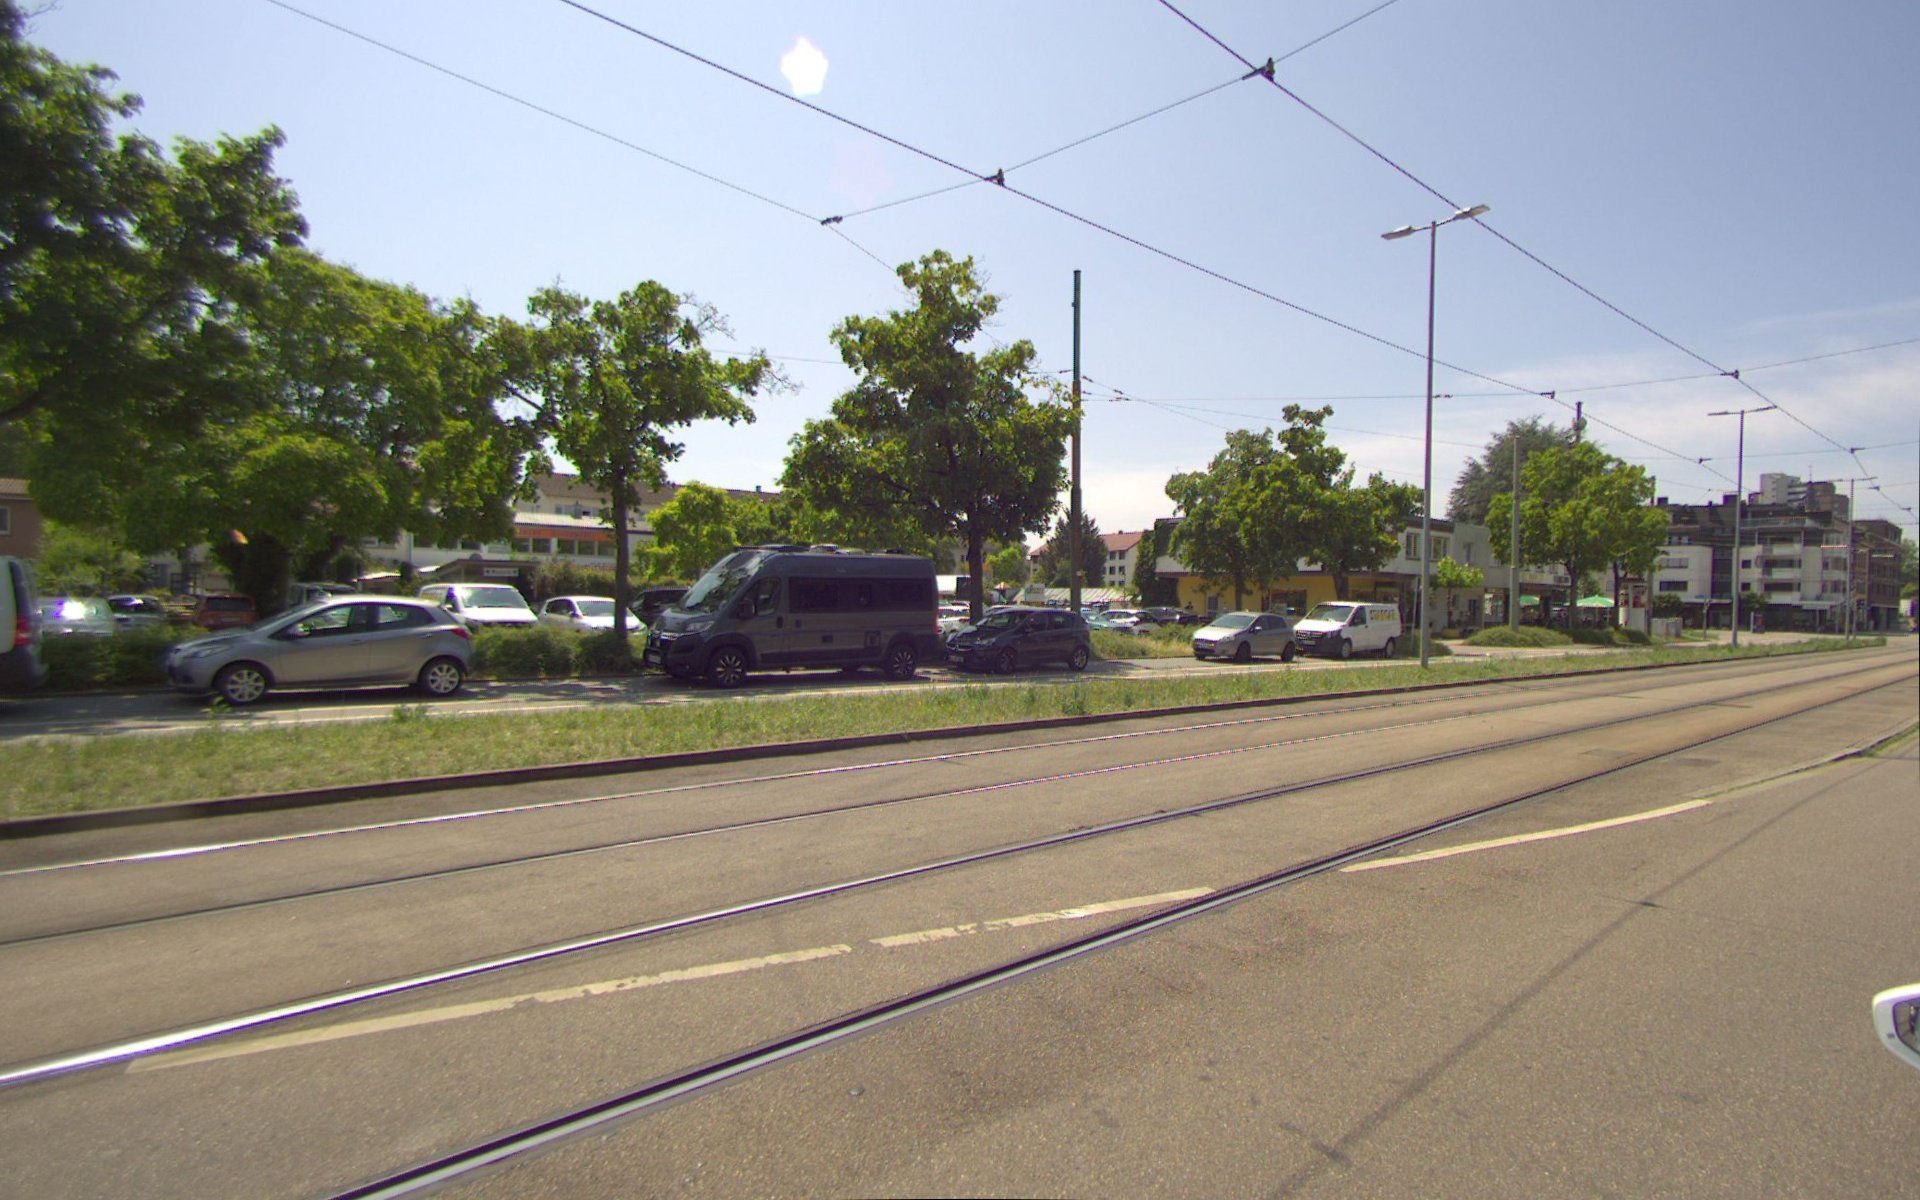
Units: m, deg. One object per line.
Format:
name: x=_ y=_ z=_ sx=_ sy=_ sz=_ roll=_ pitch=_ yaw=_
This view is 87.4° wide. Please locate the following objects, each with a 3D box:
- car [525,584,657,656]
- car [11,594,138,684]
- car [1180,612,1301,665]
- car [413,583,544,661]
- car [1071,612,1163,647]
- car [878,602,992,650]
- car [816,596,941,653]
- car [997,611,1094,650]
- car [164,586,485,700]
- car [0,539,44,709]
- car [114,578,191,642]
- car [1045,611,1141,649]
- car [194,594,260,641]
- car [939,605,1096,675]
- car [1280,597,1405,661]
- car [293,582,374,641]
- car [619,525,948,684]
car: x=-10.293 y=0.512 z=27.847 sx=1.784 sy=1.837 sz=4.674 roll=1 pitch=0 yaw=-43
car: x=-17.996 y=0.719 z=20.556 sx=1.782 sy=1.624 sz=4.342 roll=1 pitch=0 yaw=-40
car: x=8.633 y=1.160 z=30.787 sx=3.834 sy=1.439 sz=1.618 roll=1 pitch=2 yaw=-40
car: x=-12.561 y=0.516 z=26.031 sx=1.784 sy=1.837 sz=4.674 roll=1 pitch=0 yaw=-43
car: x=6.821 y=1.257 z=43.939 sx=1.634 sy=1.450 sz=3.826 roll=1 pitch=0 yaw=-43
car: x=-0.962 y=0.927 z=36.810 sx=1.784 sy=1.624 sz=4.338 roll=1 pitch=0 yaw=-43
car: x=-2.876 y=0.803 z=34.584 sx=1.784 sy=1.837 sz=4.674 roll=1 pitch=0 yaw=-43
car: x=3.387 y=1.207 z=40.360 sx=1.634 sy=1.450 sz=3.826 roll=1 pitch=0 yaw=-43
car: x=-9.204 y=0.583 z=14.746 sx=3.810 sy=1.459 sz=1.392 roll=1 pitch=0 yaw=-42
car: x=-13.316 y=0.237 z=10.968 sx=4.766 sy=1.963 sz=1.847 roll=1 pitch=0 yaw=-40
car: x=-25.216 y=0.299 z=31.374 sx=1.764 sy=1.845 sz=4.093 roll=1 pitch=0 yaw=-40
car: x=5.456 y=1.192 z=41.519 sx=1.634 sy=1.450 sz=3.826 roll=1 pitch=0 yaw=-43
car: x=-23.920 y=0.547 z=32.745 sx=1.498 sy=1.422 sz=4.093 roll=1 pitch=0 yaw=-39
car: x=1.436 y=0.915 z=23.977 sx=3.994 sy=1.543 sz=1.300 roll=1 pitch=0 yaw=-42
car: x=13.440 y=0.980 z=35.159 sx=5.125 sy=1.992 sz=1.858 roll=1 pitch=3 yaw=-42
car: x=-21.090 y=0.337 z=33.743 sx=1.764 sy=1.845 sz=4.093 roll=1 pitch=1 yaw=-40
car: x=-3.326 y=0.122 z=20.023 sx=6.127 sy=2.692 sz=2.377 roll=1 pitch=0 yaw=-42
